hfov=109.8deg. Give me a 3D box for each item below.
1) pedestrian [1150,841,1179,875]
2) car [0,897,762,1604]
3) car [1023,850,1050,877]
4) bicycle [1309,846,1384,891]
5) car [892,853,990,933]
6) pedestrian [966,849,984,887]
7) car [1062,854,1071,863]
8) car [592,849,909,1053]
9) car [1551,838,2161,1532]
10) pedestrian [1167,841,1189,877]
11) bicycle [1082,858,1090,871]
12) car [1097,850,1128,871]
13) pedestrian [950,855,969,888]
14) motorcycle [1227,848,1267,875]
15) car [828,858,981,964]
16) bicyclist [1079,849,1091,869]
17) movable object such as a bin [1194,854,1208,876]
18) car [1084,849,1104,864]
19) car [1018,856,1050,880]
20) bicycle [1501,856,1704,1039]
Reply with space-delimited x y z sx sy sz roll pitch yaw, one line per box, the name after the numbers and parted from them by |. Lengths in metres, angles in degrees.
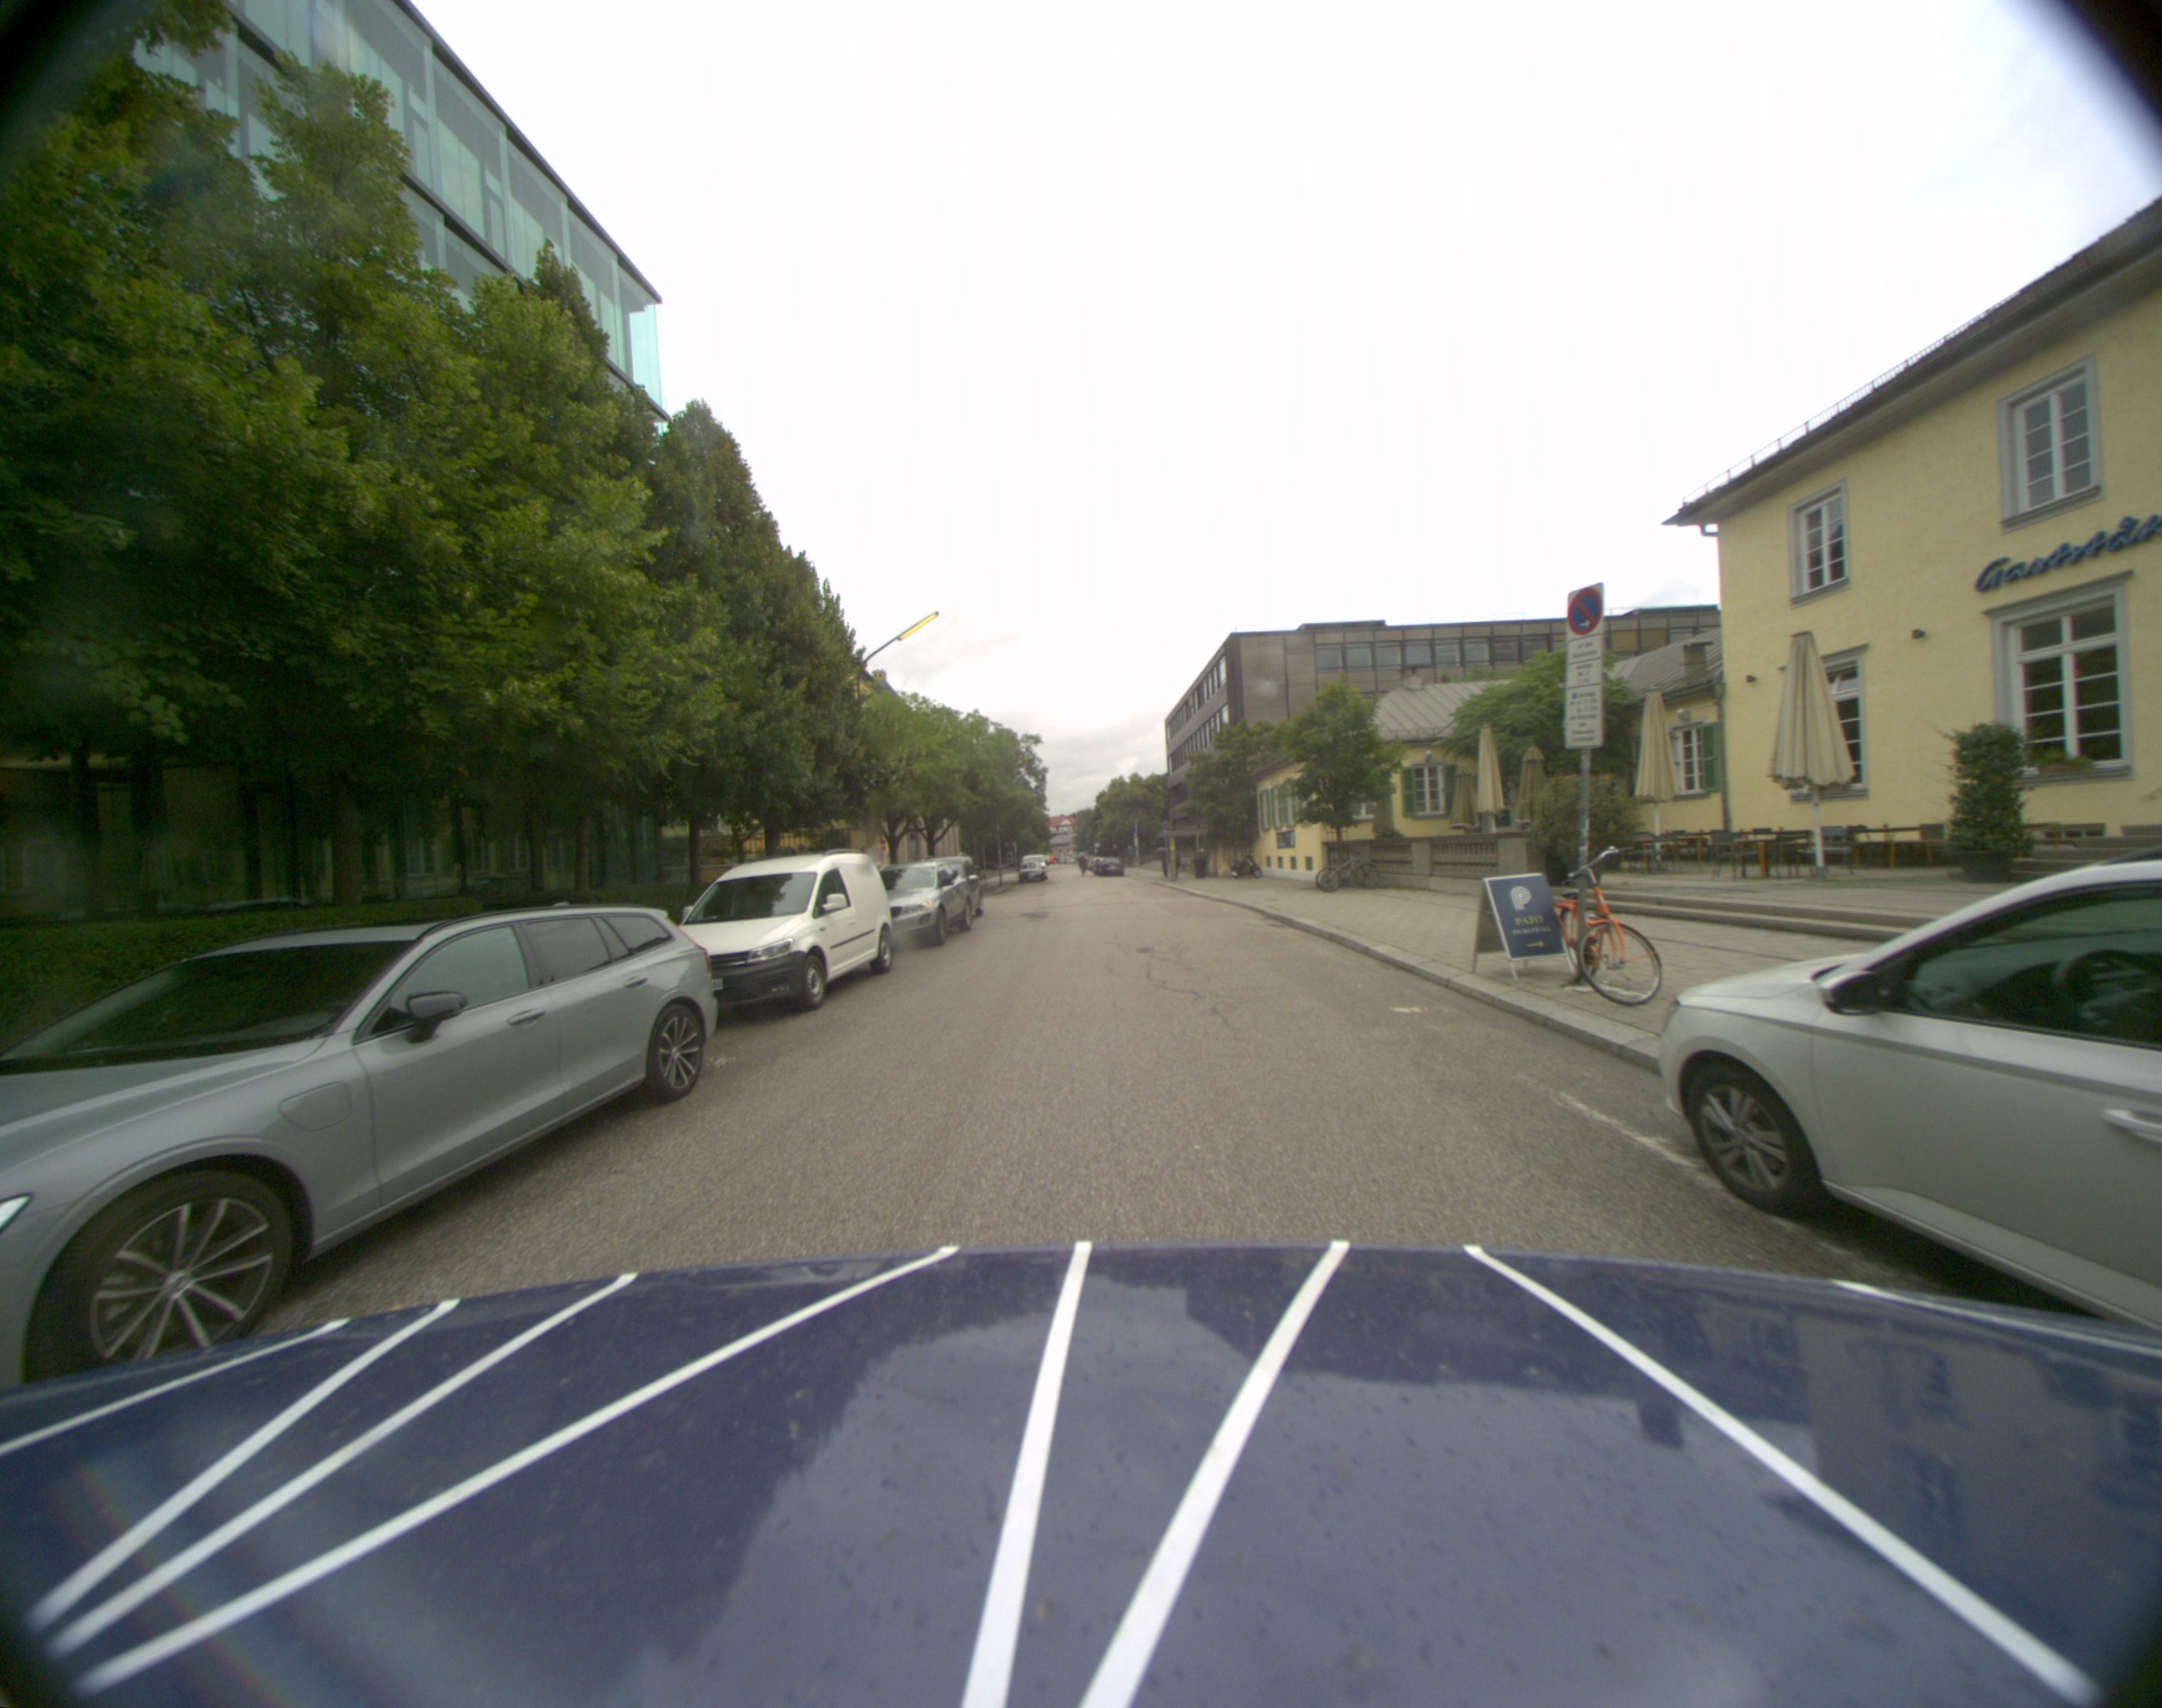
5.211 0.255 47.606 1.479 2.002 1.500 -4 1 -2 | pedestrian
-3.779 1.223 3.930 1.952 1.543 5.005 -4 0 1 | car
-3.467 0.702 59.421 1.831 1.884 4.486 -4 0 -2 | car
7.498 0.412 21.503 1.847 1.028 0.466 -8 0 2 | bicycle
-3.657 0.931 20.590 1.815 1.797 4.346 -4 0 -2 | car
-5.792 0.770 41.475 0.690 2.002 0.894 -5 1 -16 | pedestrian
-3.543 1.086 189.924 1.999 2.002 3.998 -4 1 -3 | car
-3.792 0.954 9.812 1.789 1.884 4.574 -4 0 2 | car
3.298 0.757 1.751 1.729 1.483 4.461 -4 0 3 | car
5.630 0.263 44.162 0.977 2.002 0.914 -4 1 -2 | pedestrian
0.391 0.851 61.634 0.607 1.014 2.308 -1 0 -2 | bicycle
2.353 0.461 57.618 1.929 1.390 4.486 -3 0 -2 | car
-6.755 0.965 42.093 0.700 1.749 0.684 -5 1 -30 | pedestrian
7.697 0.343 35.295 1.664 1.106 0.591 -5 2 43 | motorcycle
-3.440 1.021 15.842 1.872 1.682 4.784 -4 0 1 | car
0.339 0.383 61.506 0.903 1.602 1.067 -1 1 -2 | bicyclist
6.359 0.595 40.243 0.615 1.102 0.460 -4 1 -2 | movable object such as a bin
1.383 0.275 82.335 1.999 1.555 3.999 -3 0 -2 | car
-3.244 0.946 53.355 1.958 1.494 4.486 -4 0 -2 | car
4.474 0.731 6.690 0.781 1.361 1.696 -3 0 10 | bicycle
